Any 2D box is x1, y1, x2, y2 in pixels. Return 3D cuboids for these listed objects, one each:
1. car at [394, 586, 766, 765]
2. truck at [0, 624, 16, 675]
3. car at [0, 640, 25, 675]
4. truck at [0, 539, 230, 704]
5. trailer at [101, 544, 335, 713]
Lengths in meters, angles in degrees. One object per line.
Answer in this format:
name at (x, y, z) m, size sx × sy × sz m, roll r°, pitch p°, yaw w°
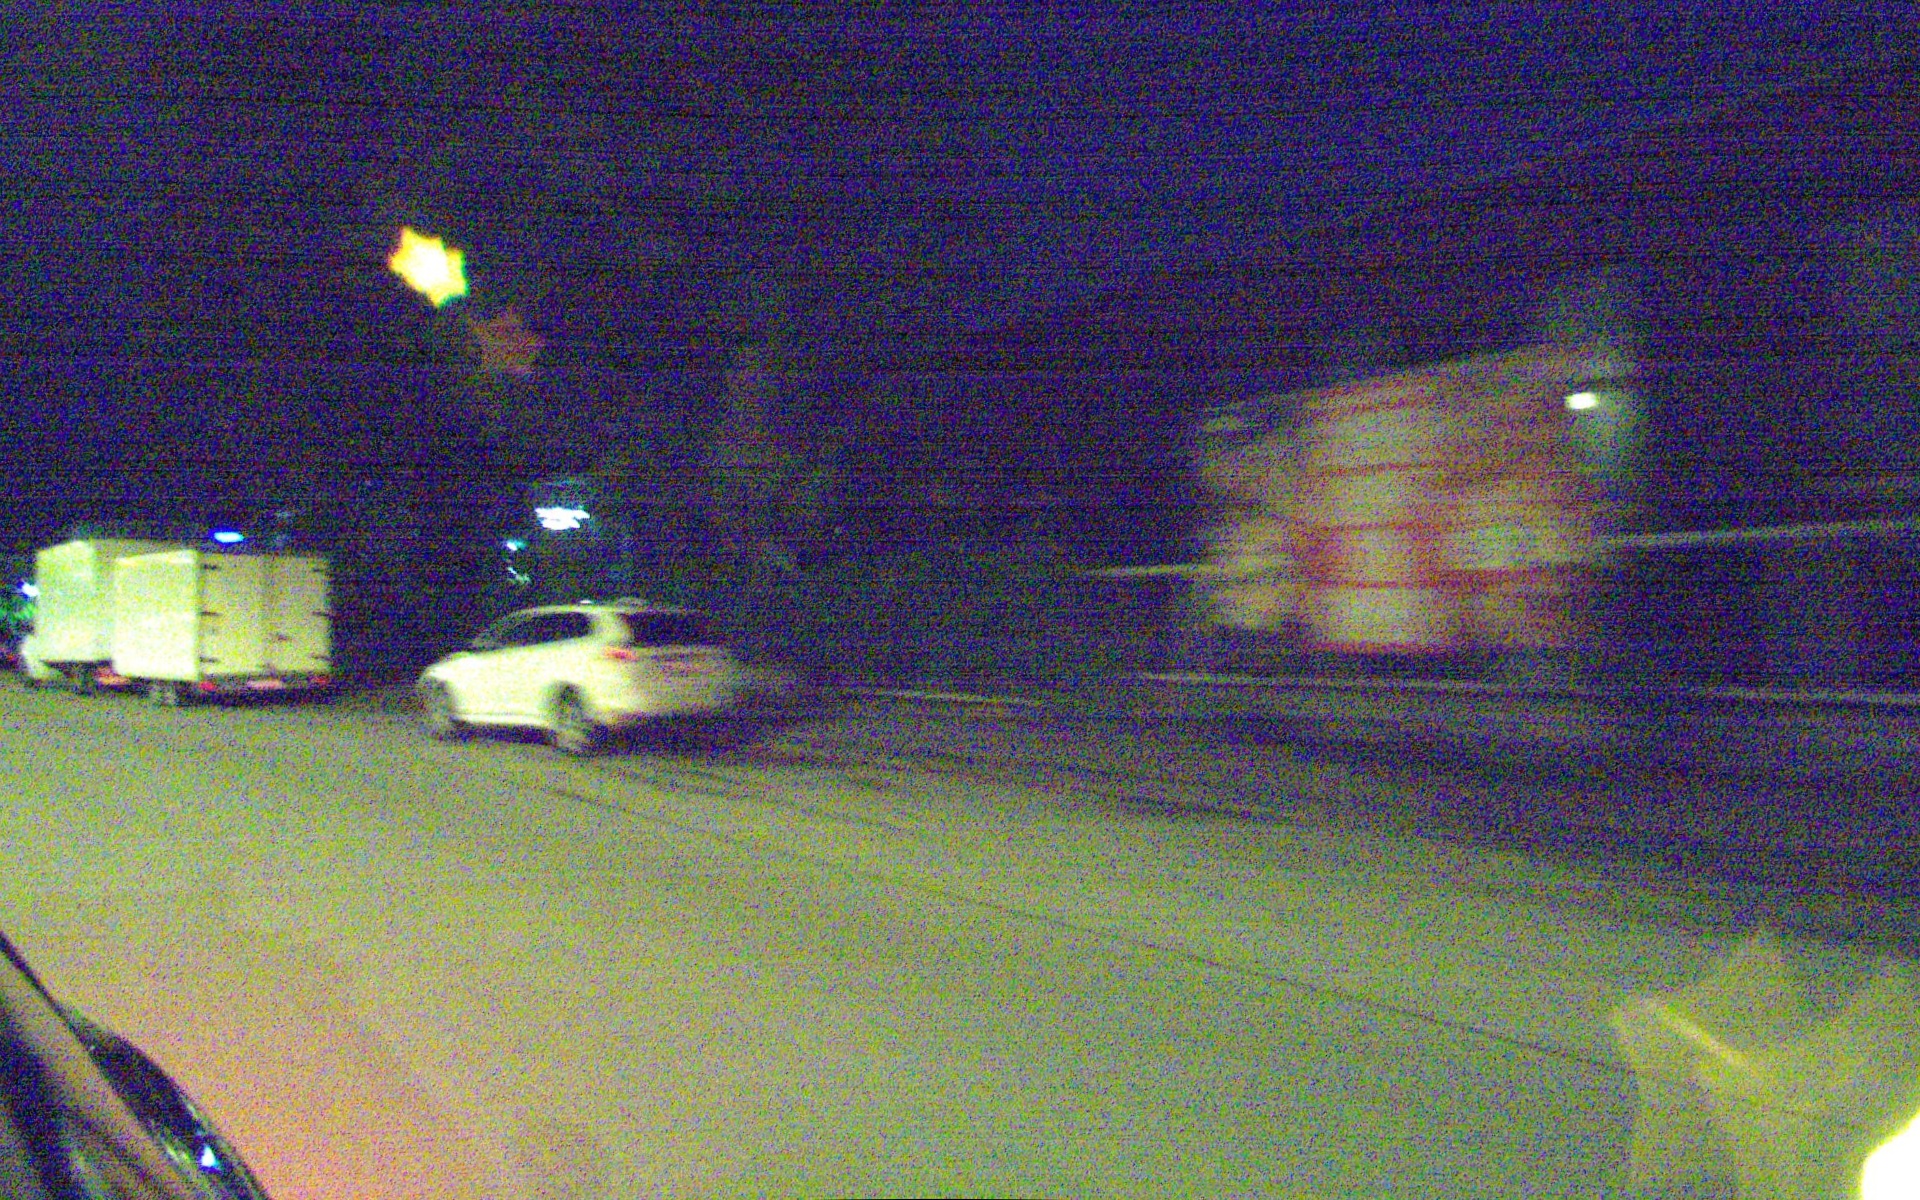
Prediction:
car at (-4.708, 0.820, 12.273) m, size 4.682 × 1.785 × 1.976 m, roll -2°, pitch -2°, yaw 36°
truck at (-52.809, 2.647, 54.816) m, size 7.102 × 2.633 × 2.108 m, roll -2°, pitch -3°, yaw 45°
car at (-46.573, 2.765, 48.845) m, size 4.000 × 1.652 × 1.837 m, roll -2°, pitch -3°, yaw 43°
truck at (-19.452, 0.515, 23.127) m, size 7.217 × 3.268 × 2.352 m, roll -2°, pitch -2°, yaw 36°
trailer at (-14.061, 0.535, 19.108) m, size 4.605 × 2.817 × 2.186 m, roll -2°, pitch -2°, yaw 35°
